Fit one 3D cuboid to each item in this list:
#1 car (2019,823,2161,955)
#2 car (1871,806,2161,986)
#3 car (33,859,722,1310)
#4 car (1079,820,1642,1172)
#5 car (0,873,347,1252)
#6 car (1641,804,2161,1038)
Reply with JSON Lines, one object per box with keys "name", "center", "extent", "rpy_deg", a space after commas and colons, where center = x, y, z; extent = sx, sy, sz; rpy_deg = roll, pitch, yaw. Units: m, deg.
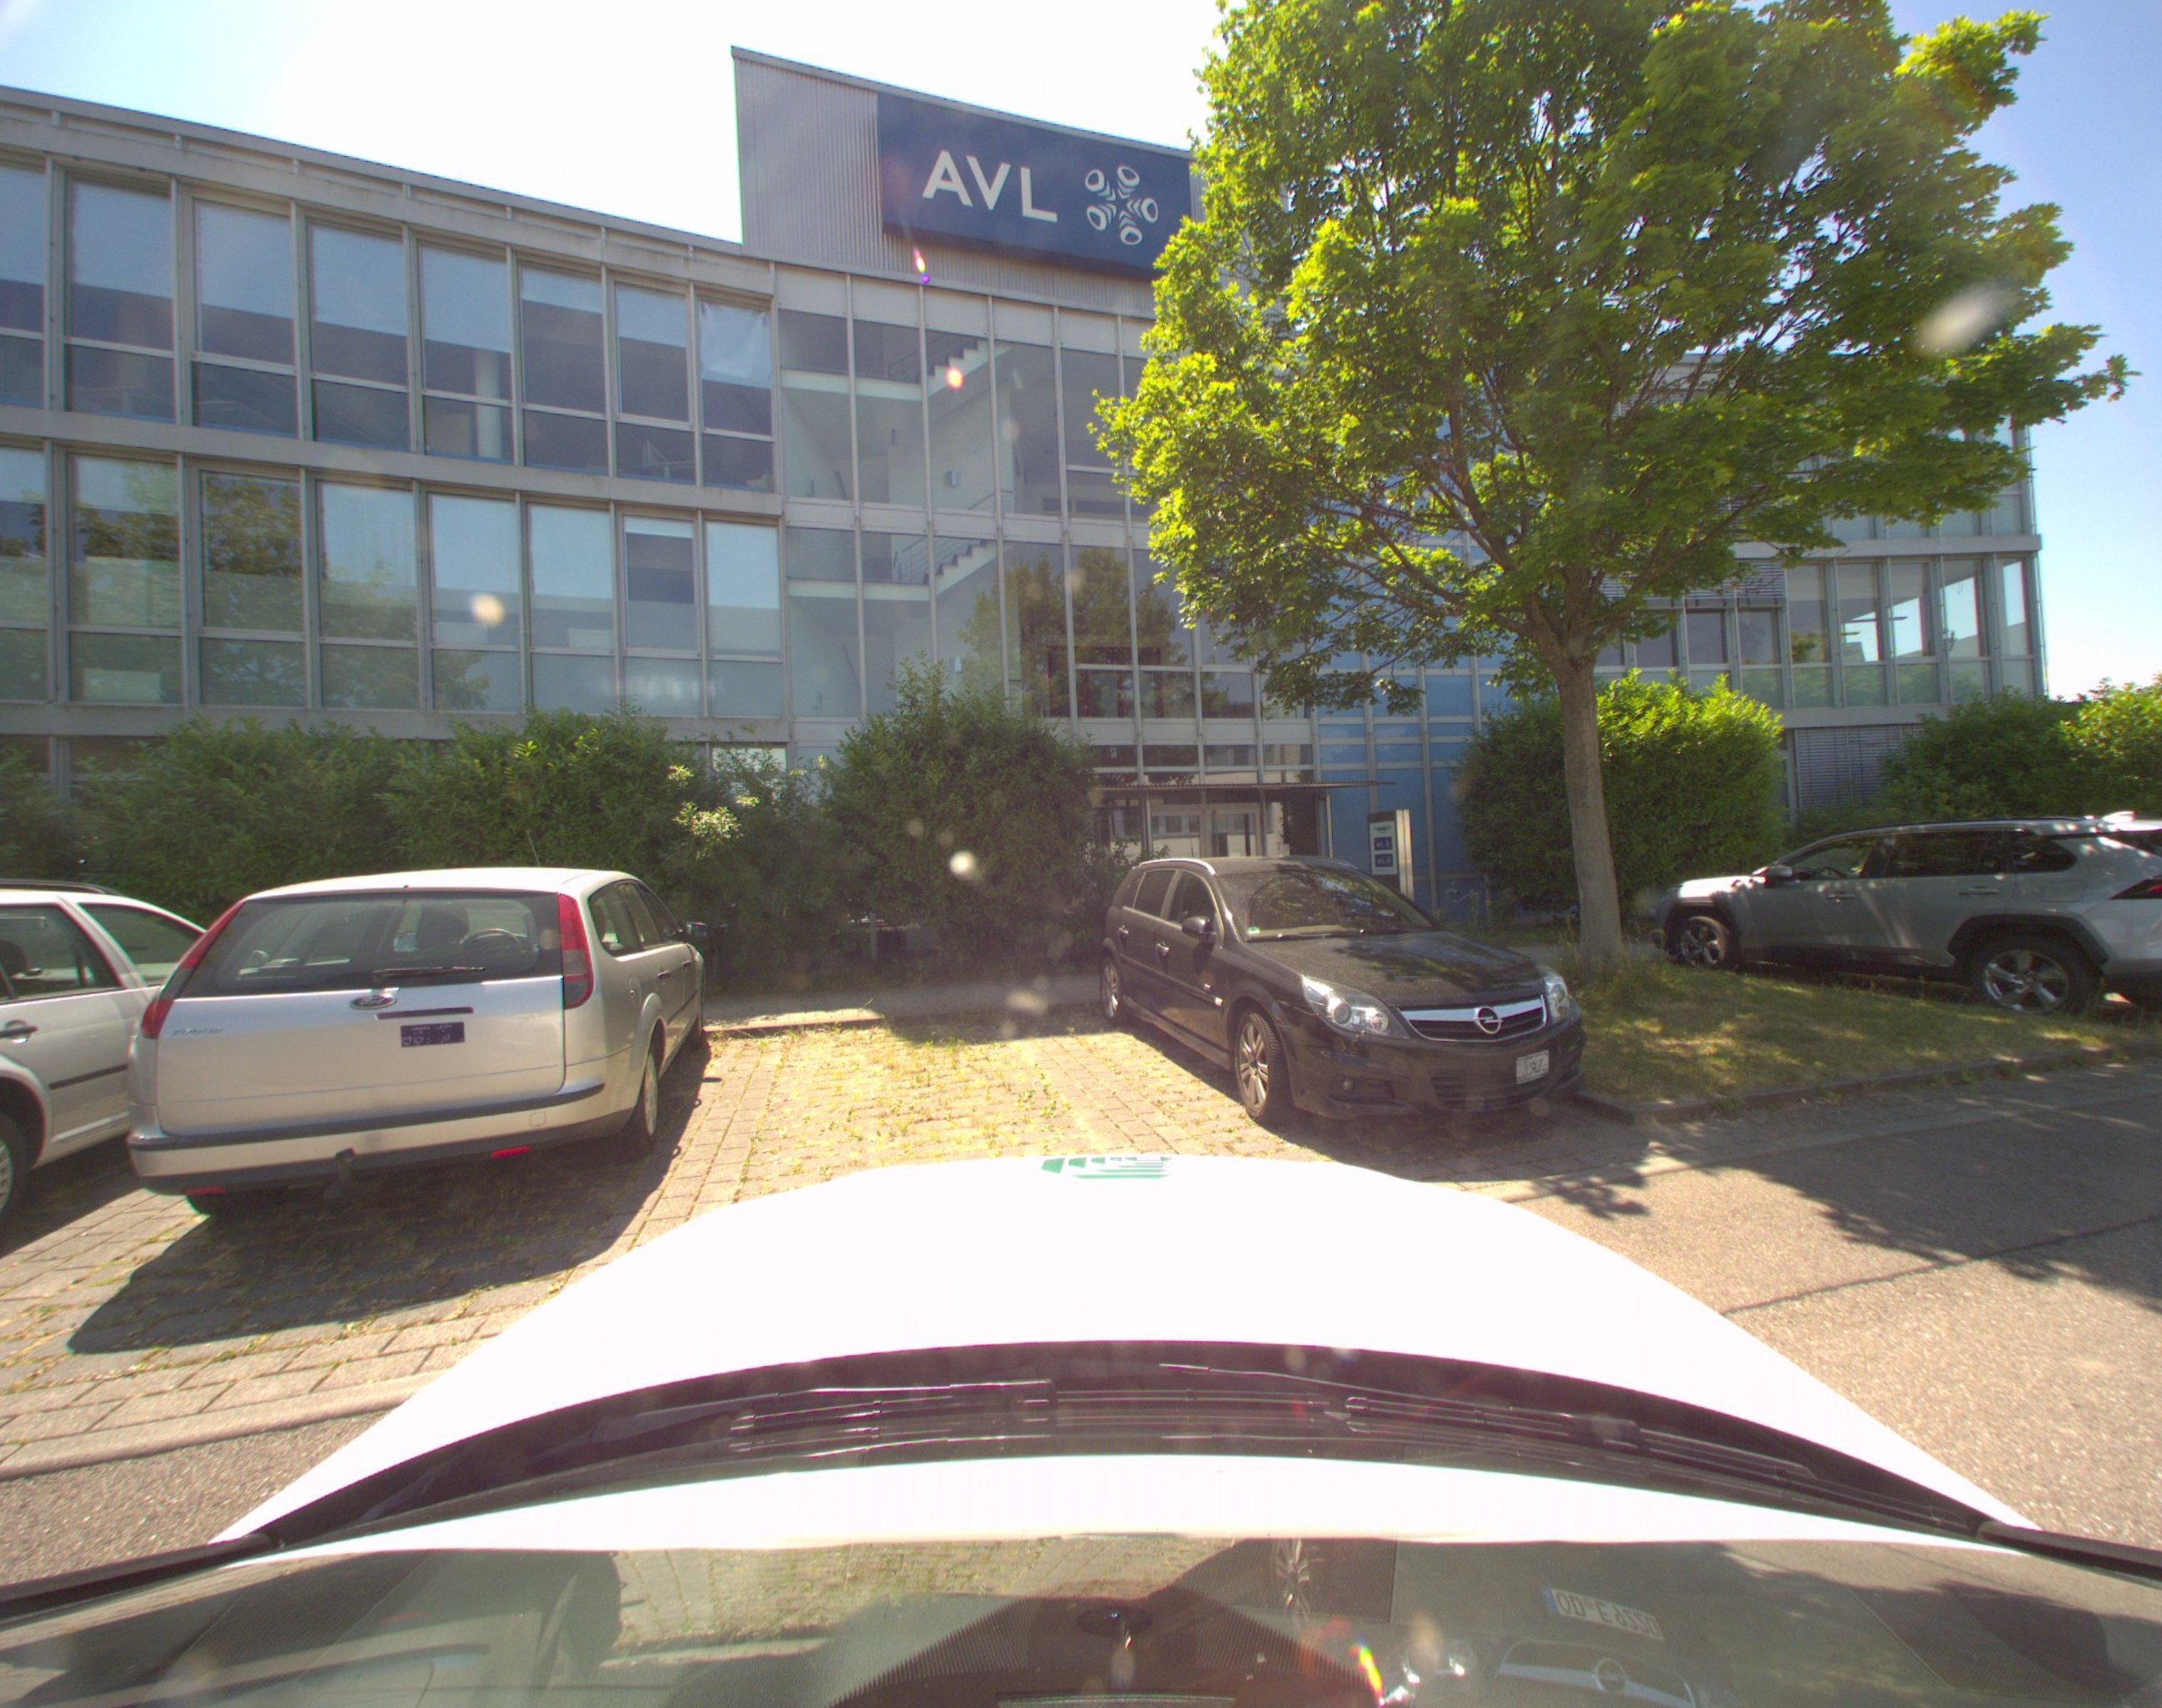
{"name": "car", "center": [13.135, 0.377, 8.470], "extent": [1.656, 1.486, 4.161], "rpy_deg": [-1, 0, -12]}
{"name": "car", "center": [10.668, 0.368, 7.848], "extent": [1.656, 1.643, 4.186], "rpy_deg": [-1, 0, -12]}
{"name": "car", "center": [-3.415, 0.823, 5.090], "extent": [1.724, 1.479, 4.320], "rpy_deg": [-1, -1, -19]}
{"name": "car", "center": [1.395, 0.663, 6.065], "extent": [1.760, 1.549, 4.543], "rpy_deg": [-1, -1, -14]}
{"name": "car", "center": [-5.343, 0.850, 3.742], "extent": [1.654, 1.479, 3.863], "rpy_deg": [-1, -1, -22]}
{"name": "car", "center": [8.079, 0.450, 7.866], "extent": [1.853, 1.643, 4.315], "rpy_deg": [-1, 0, -12]}
